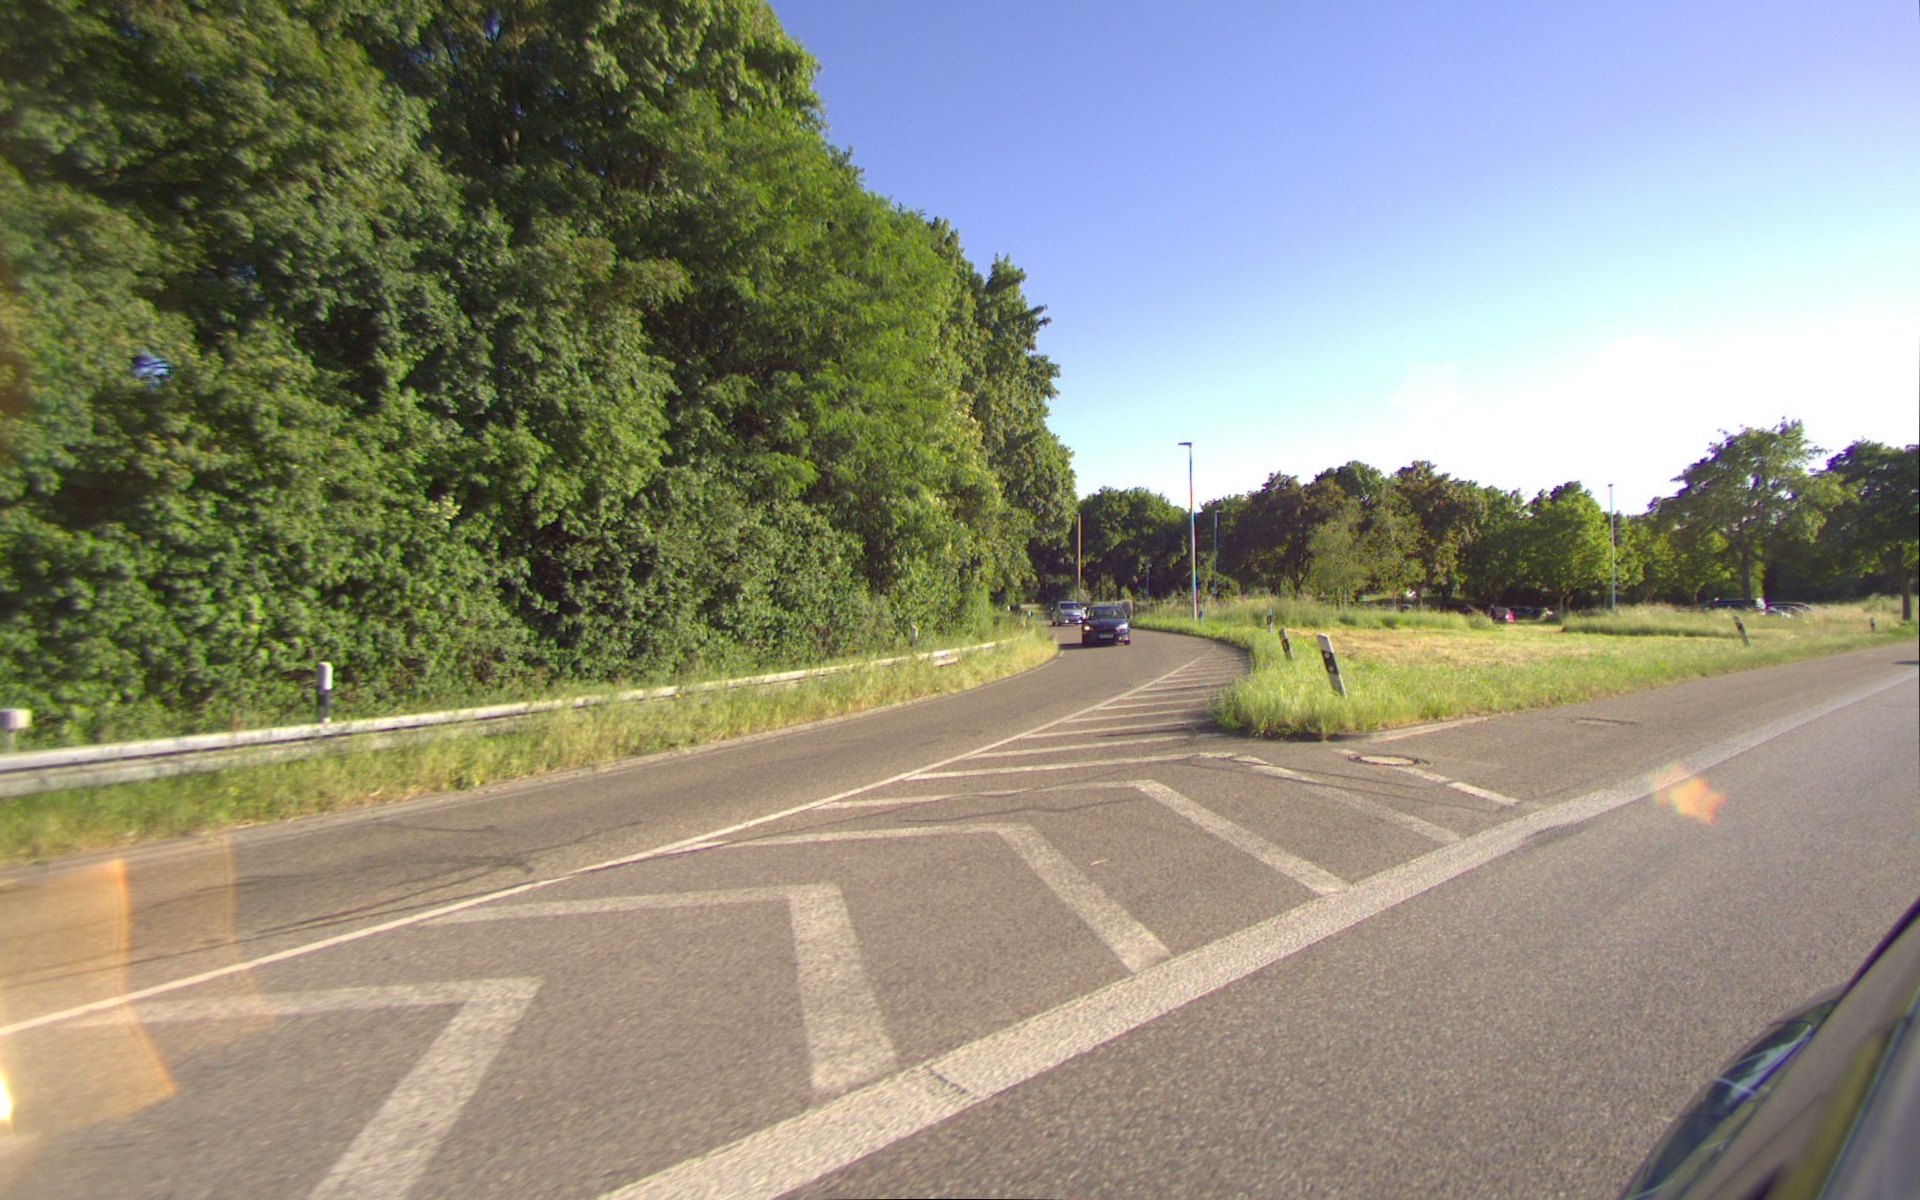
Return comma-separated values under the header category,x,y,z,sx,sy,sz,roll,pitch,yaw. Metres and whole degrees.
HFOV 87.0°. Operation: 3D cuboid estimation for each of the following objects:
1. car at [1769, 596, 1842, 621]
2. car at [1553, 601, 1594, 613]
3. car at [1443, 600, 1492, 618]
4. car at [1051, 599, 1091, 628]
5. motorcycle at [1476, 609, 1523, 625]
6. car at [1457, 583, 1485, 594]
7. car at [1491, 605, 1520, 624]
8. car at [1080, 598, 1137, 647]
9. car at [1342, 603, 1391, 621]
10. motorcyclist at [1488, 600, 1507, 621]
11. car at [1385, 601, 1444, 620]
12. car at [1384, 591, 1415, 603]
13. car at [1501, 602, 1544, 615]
category,x,y,z,sx,sy,sz,roll,pitch,yaw
car,76.816,0.784,92.032,1.992,2.048,4.797,-4,1,-40
car,77.658,0.891,128.152,1.834,1.441,4.116,-4,2,-40
car,56.650,0.971,112.978,1.916,1.798,4.586,-2,2,-45
car,6.767,0.816,61.967,1.727,1.593,4.144,-4,-1,-3
motorcycle,37.645,1.162,70.611,2.804,1.083,0.812,0,0,24
car,77.445,-1.720,153.343,3.920,1.597,1.911,0,-1,-30
car,43.920,1.136,81.440,1.691,1.482,4.098,-1,-1,34
car,5.572,0.793,37.700,1.734,1.593,4.128,-4,-1,12
car,38.534,1.121,95.980,4.173,1.580,1.776,-1,-1,20
motorcyclist,37.545,0.747,70.660,1.081,1.466,0.813,-1,0,24
car,46.823,1.094,104.366,1.922,1.889,5.202,-1,1,-39
car,62.158,-0.425,143.042,3.917,1.597,1.913,0,-1,-25
car,66.521,1.020,119.722,1.834,1.441,4.116,-4,2,-40
